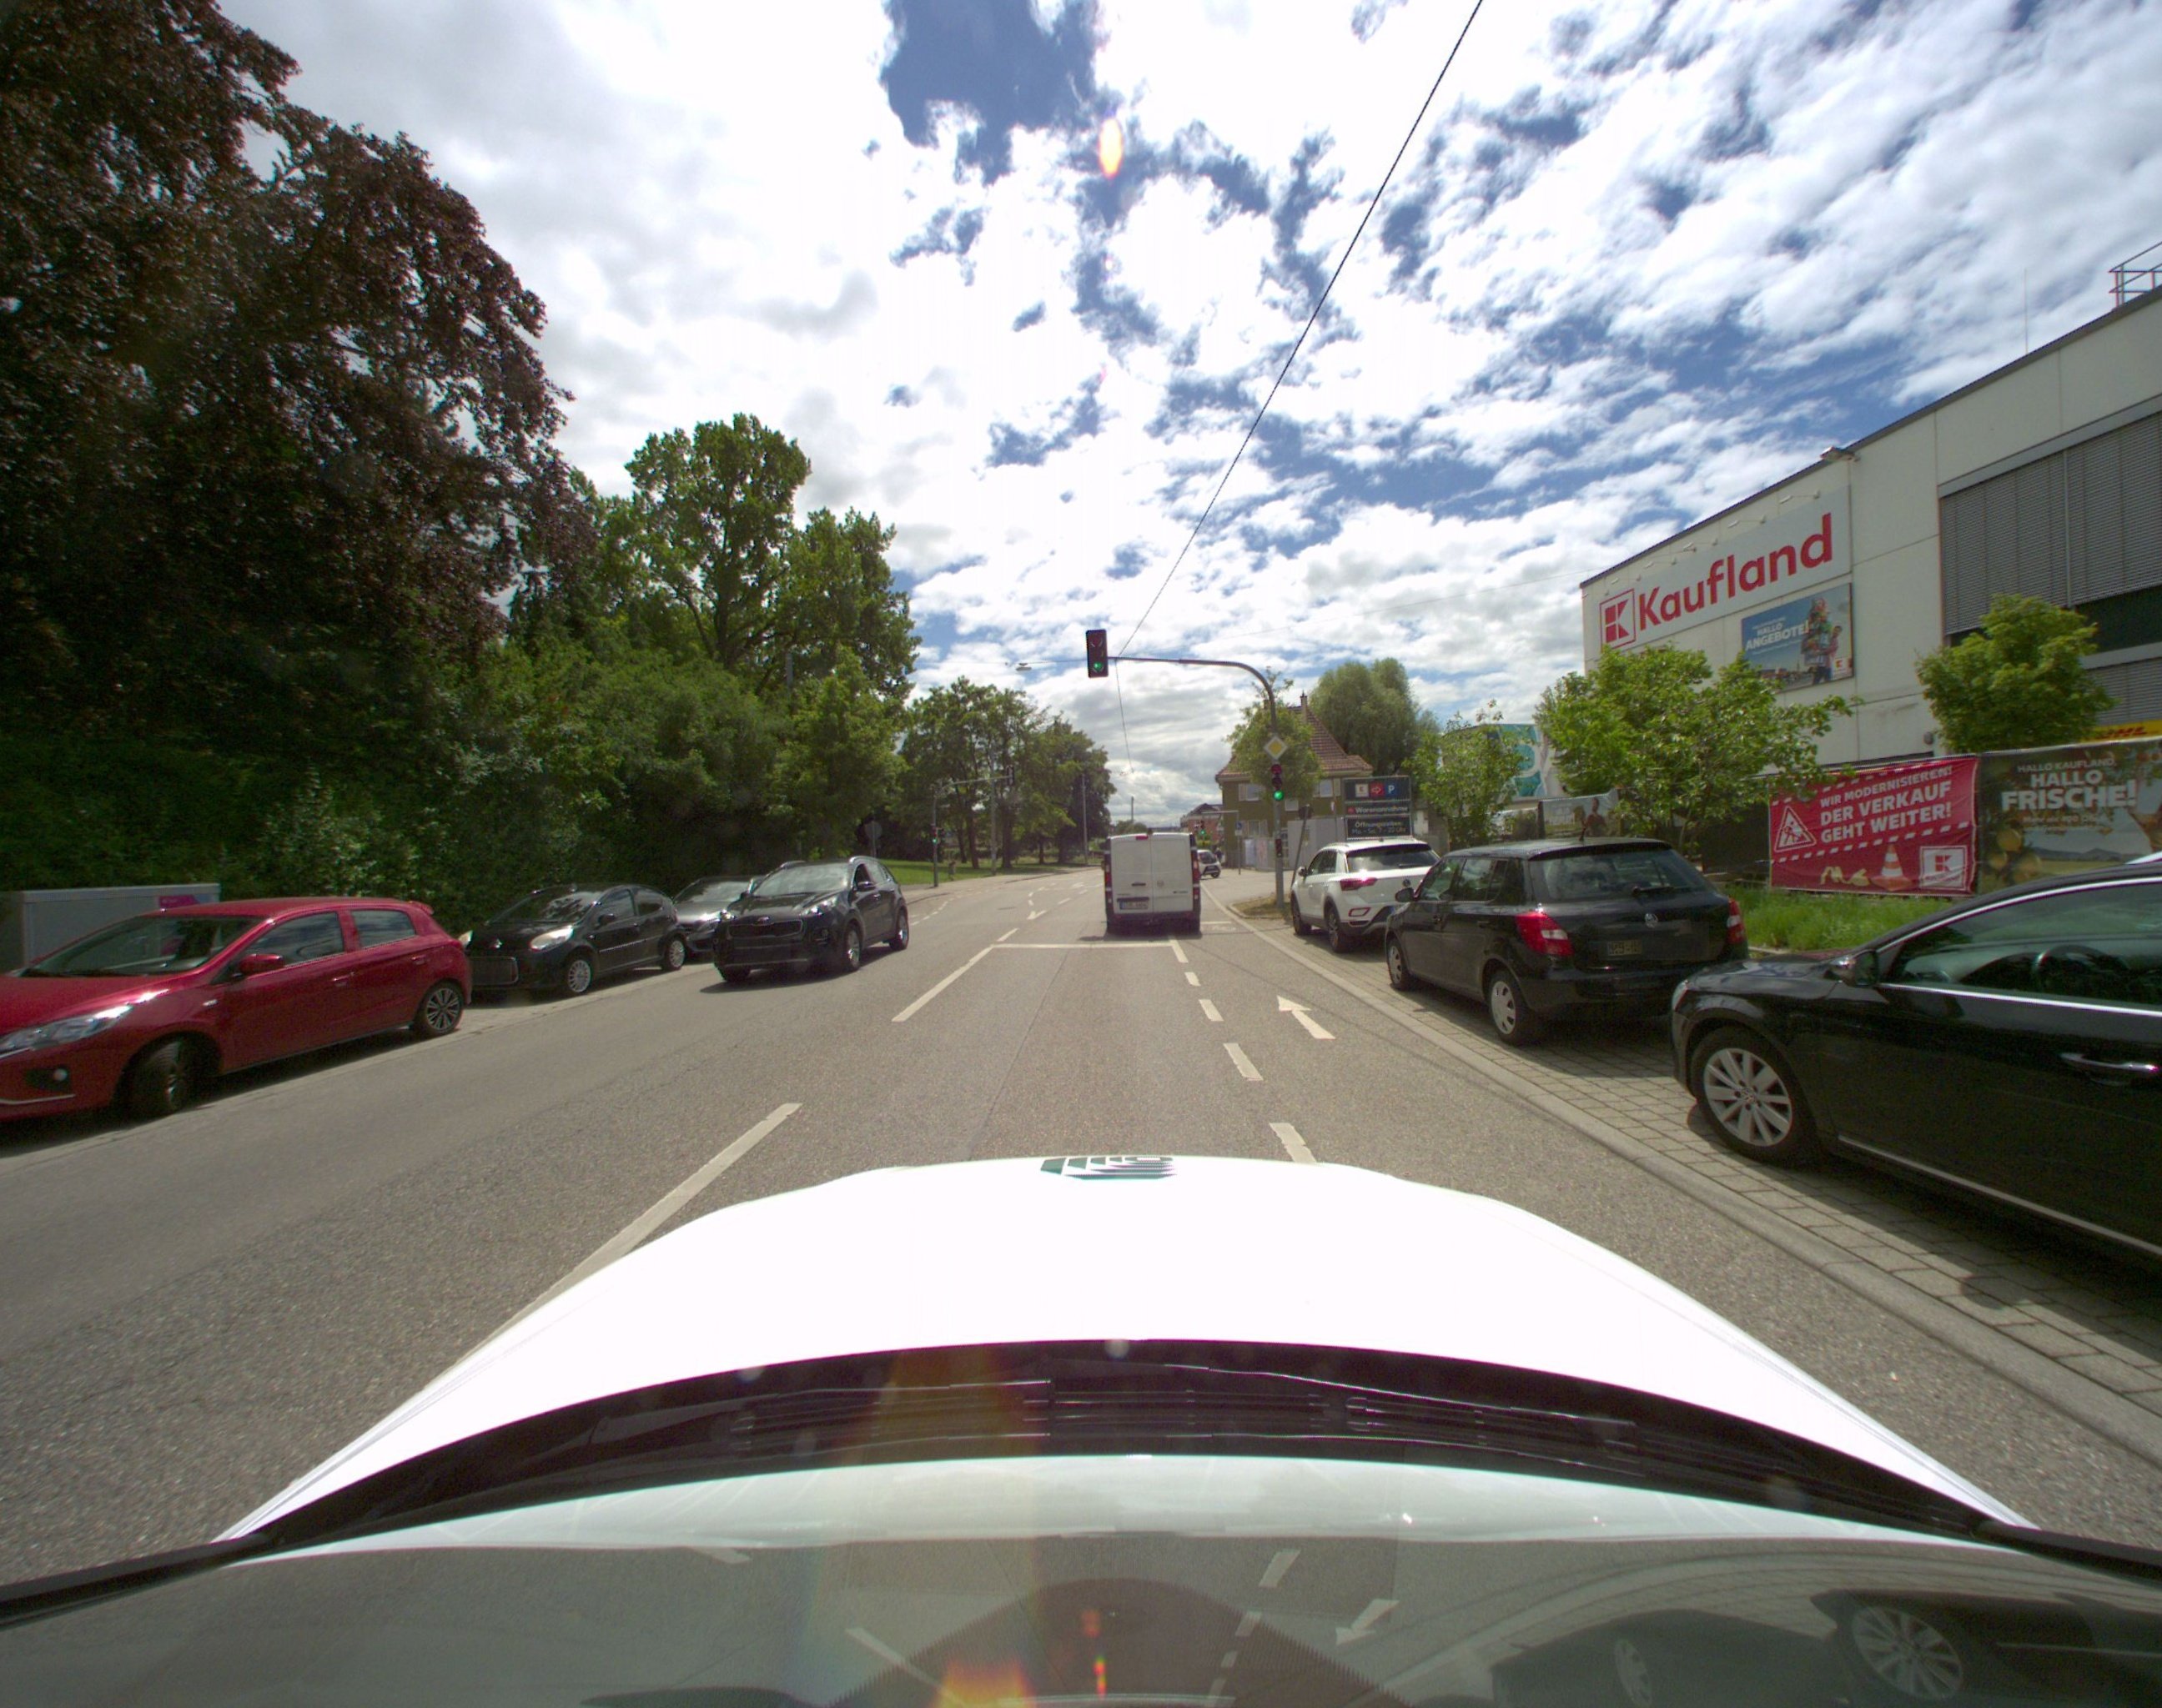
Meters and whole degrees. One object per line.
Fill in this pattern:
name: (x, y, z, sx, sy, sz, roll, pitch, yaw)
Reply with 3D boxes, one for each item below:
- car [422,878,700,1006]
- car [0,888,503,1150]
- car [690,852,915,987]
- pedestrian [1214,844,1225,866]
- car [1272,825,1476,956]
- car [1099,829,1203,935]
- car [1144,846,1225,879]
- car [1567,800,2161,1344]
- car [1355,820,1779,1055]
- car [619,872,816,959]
car: (-7.310, 1.149, 11.915, 1.589, 1.450, 3.599, -1, 0, 3)
car: (-7.333, 1.114, 7.043, 1.643, 1.450, 4.106, -1, 0, 1)
car: (-4.031, 0.854, 12.626, 1.826, 1.616, 4.154, -4, 0, 2)
pedestrian: (10.481, 0.094, 61.757, 0.674, 1.553, 0.837, -5, -3, 8)
car: (4.443, 0.497, 13.122, 1.730, 1.616, 4.389, -5, 0, 2)
car: (1.392, 0.532, 17.689, 1.931, 1.960, 4.835, -1, 0, 2)
car: (5.256, 0.423, 41.586, 1.617, 1.606, 3.951, 1, 0, -45)
car: (3.889, 0.579, 2.477, 1.759, 1.477, 4.934, -5, 0, 0)
car: (3.954, 0.569, 7.505, 1.562, 1.493, 4.002, -4, 0, 2)
car: (-6.957, 1.094, 16.217, 1.688, 1.365, 4.687, -1, 0, 1)
